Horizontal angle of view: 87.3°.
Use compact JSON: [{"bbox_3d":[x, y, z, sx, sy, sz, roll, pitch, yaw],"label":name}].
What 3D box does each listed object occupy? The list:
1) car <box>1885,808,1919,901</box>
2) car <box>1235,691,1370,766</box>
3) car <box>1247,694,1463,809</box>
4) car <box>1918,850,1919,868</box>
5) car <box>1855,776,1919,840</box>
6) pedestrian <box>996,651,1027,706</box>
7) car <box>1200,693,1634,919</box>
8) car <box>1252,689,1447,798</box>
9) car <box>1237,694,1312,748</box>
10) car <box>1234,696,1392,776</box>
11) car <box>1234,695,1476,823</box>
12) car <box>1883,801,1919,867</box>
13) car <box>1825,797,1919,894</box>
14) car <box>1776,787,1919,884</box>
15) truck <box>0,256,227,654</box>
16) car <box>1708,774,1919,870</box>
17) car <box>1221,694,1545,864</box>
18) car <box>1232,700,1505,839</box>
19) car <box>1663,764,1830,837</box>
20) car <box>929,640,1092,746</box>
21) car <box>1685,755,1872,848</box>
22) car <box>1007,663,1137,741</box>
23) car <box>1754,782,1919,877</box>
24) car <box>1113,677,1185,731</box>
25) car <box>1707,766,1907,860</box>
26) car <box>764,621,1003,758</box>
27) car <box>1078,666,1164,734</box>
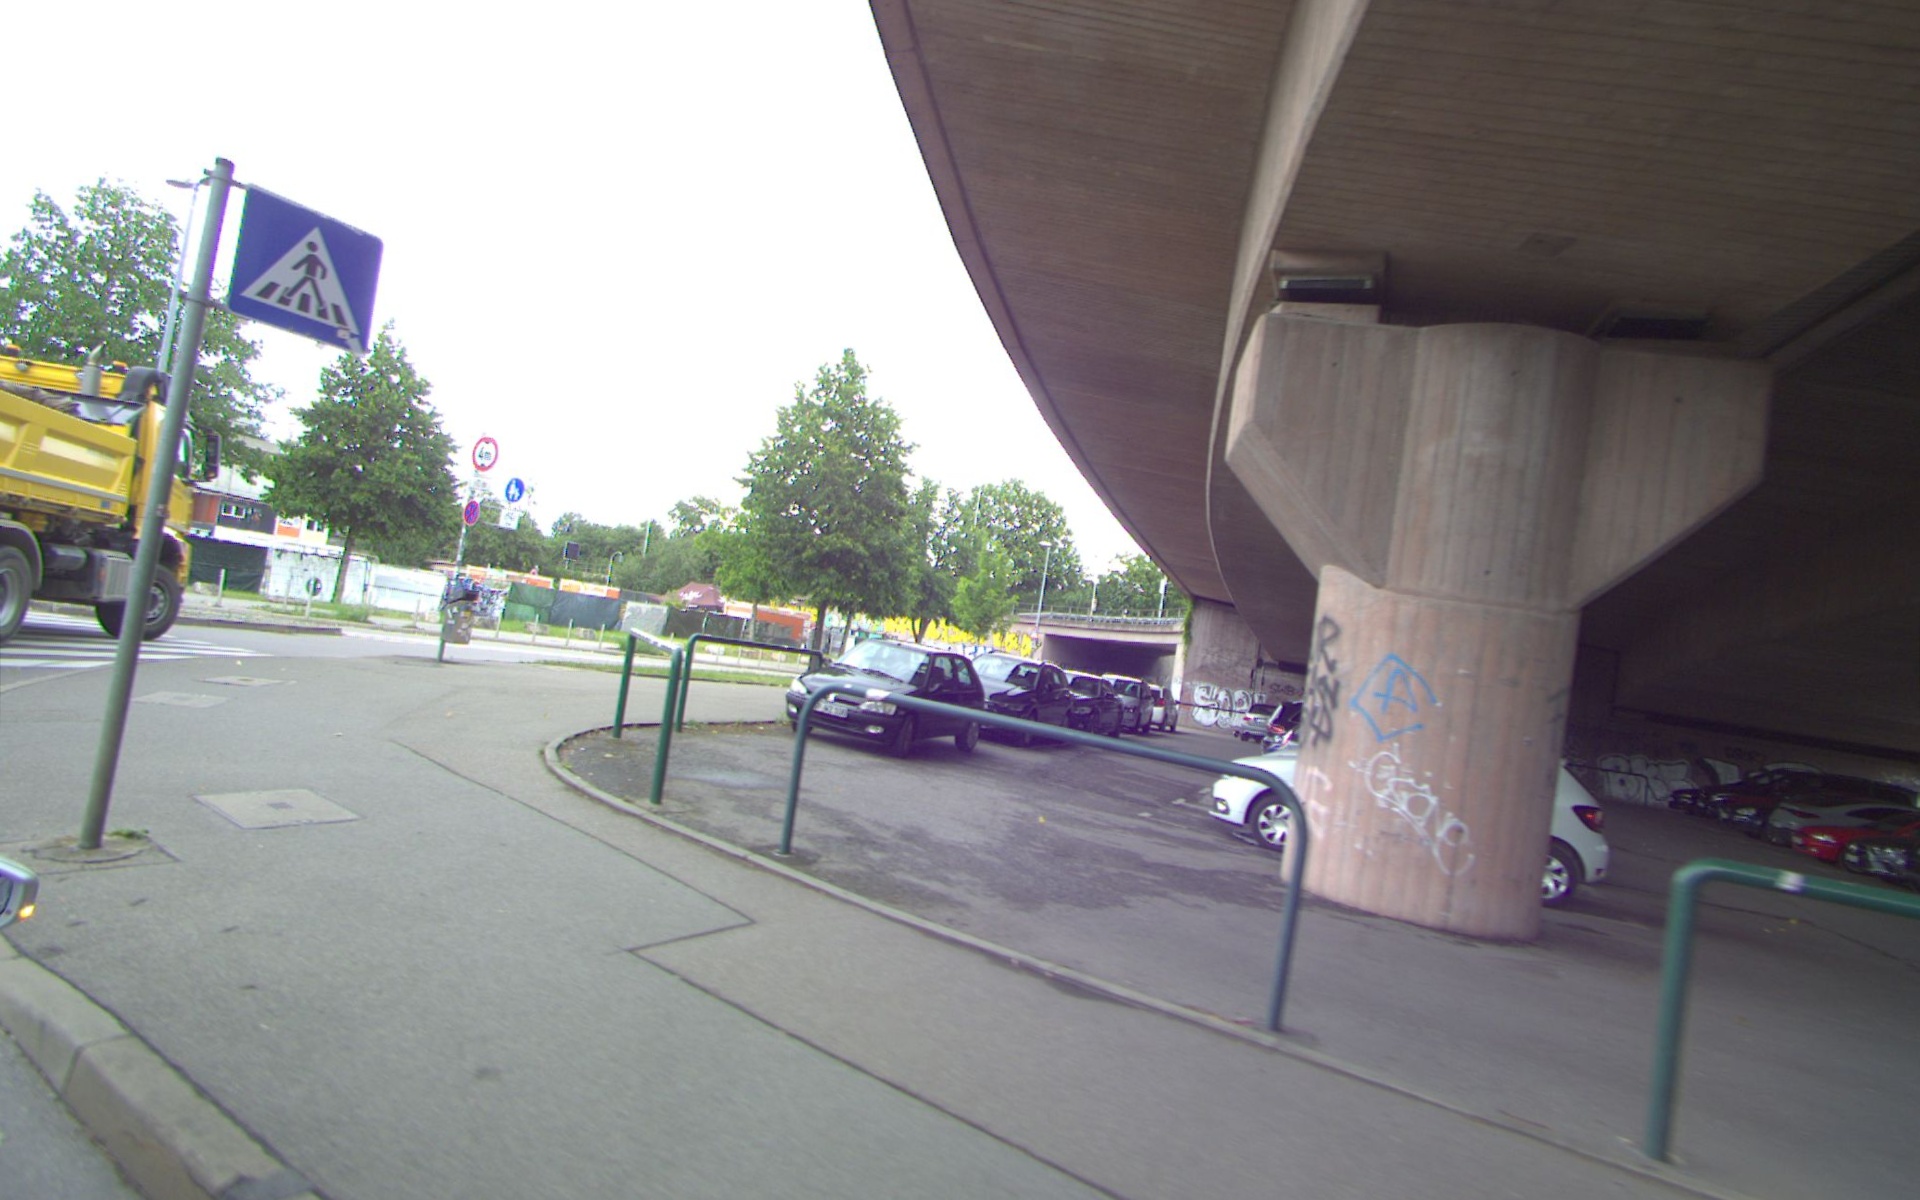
[{"bbox_3d":[17.711,4.504,16.061,3.792,1.443,1.840,8,-2,23],"label":"car"},{"bbox_3d":[10.811,4.034,31.976,3.789,1.656,1.761,8,-2,17],"label":"car"},{"bbox_3d":[7.936,3.017,20.575,3.789,1.573,1.761,8,-2,17],"label":"car"},{"bbox_3d":[25.210,6.008,23.117,4.116,1.482,1.840,8,-2,23],"label":"car"},{"bbox_3d":[27.246,5.935,27.130,4.116,1.482,1.840,8,-2,23],"label":"car"},{"bbox_3d":[1.926,2.944,37.596,0.723,1.928,0.826,7,-2,20],"label":"pedestrian"},{"bbox_3d":[4.847,2.127,11.165,3.937,1.569,1.641,8,-2,20],"label":"car"},{"bbox_3d":[8.657,3.166,22.701,3.789,1.713,1.761,8,-2,17],"label":"car"},{"bbox_3d":[11.101,4.244,35.328,1.719,1.515,4.001,7,-3,27],"label":"car"},{"bbox_3d":[9.545,3.657,27.458,3.789,1.454,1.761,8,-2,17],"label":"car"},{"bbox_3d":[7.084,2.824,18.417,3.789,1.573,1.701,8,-2,17],"label":"car"},{"bbox_3d":[26.201,6.264,25.134,4.116,1.482,1.840,8,-2,23],"label":"car"},{"bbox_3d":[18.540,4.742,18.257,3.792,1.443,1.840,8,-2,23],"label":"car"},{"bbox_3d":[19.356,4.961,20.491,3.792,1.443,1.680,8,-2,23],"label":"car"},{"bbox_3d":[-11.126,-1.518,10.957,2.728,3.743,7.845,7,-1,-20],"label":"truck"},{"bbox_3d":[20.899,5.384,24.723,3.596,1.443,1.680,8,-2,23],"label":"car"},{"bbox_3d":[5.705,2.383,14.039,3.789,1.526,1.701,8,-2,17],"label":"car"},{"bbox_3d":[6.499,2.673,16.414,3.789,1.459,1.701,8,-2,17],"label":"car"},{"bbox_3d":[24.192,6.143,31.097,3.596,1.404,1.680,8,-2,23],"label":"car"},{"bbox_3d":[1.045,1.721,18.104,1.482,1.435,4.255,9,-3,21],"label":"car"},{"bbox_3d":[23.339,5.706,28.860,3.596,1.808,1.885,8,-2,23],"label":"car"},{"bbox_3d":[2.668,2.335,22.917,1.739,1.335,4.380,8,-3,22],"label":"car"},{"bbox_3d":[20.141,5.141,22.254,3.596,1.443,1.680,8,-2,23],"label":"car"},{"bbox_3d":[6.352,3.498,33.603,1.550,1.455,3.381,8,-3,23],"label":"car"},{"bbox_3d":[22.452,5.616,26.844,3.596,1.616,1.680,8,-2,23],"label":"car"},{"bbox_3d":[-0.850,1.231,13.387,1.483,1.344,3.704,9,-3,23],"label":"car"},{"bbox_3d":[4.638,2.845,28.590,1.587,1.552,4.076,8,-3,19],"label":"car"}]
